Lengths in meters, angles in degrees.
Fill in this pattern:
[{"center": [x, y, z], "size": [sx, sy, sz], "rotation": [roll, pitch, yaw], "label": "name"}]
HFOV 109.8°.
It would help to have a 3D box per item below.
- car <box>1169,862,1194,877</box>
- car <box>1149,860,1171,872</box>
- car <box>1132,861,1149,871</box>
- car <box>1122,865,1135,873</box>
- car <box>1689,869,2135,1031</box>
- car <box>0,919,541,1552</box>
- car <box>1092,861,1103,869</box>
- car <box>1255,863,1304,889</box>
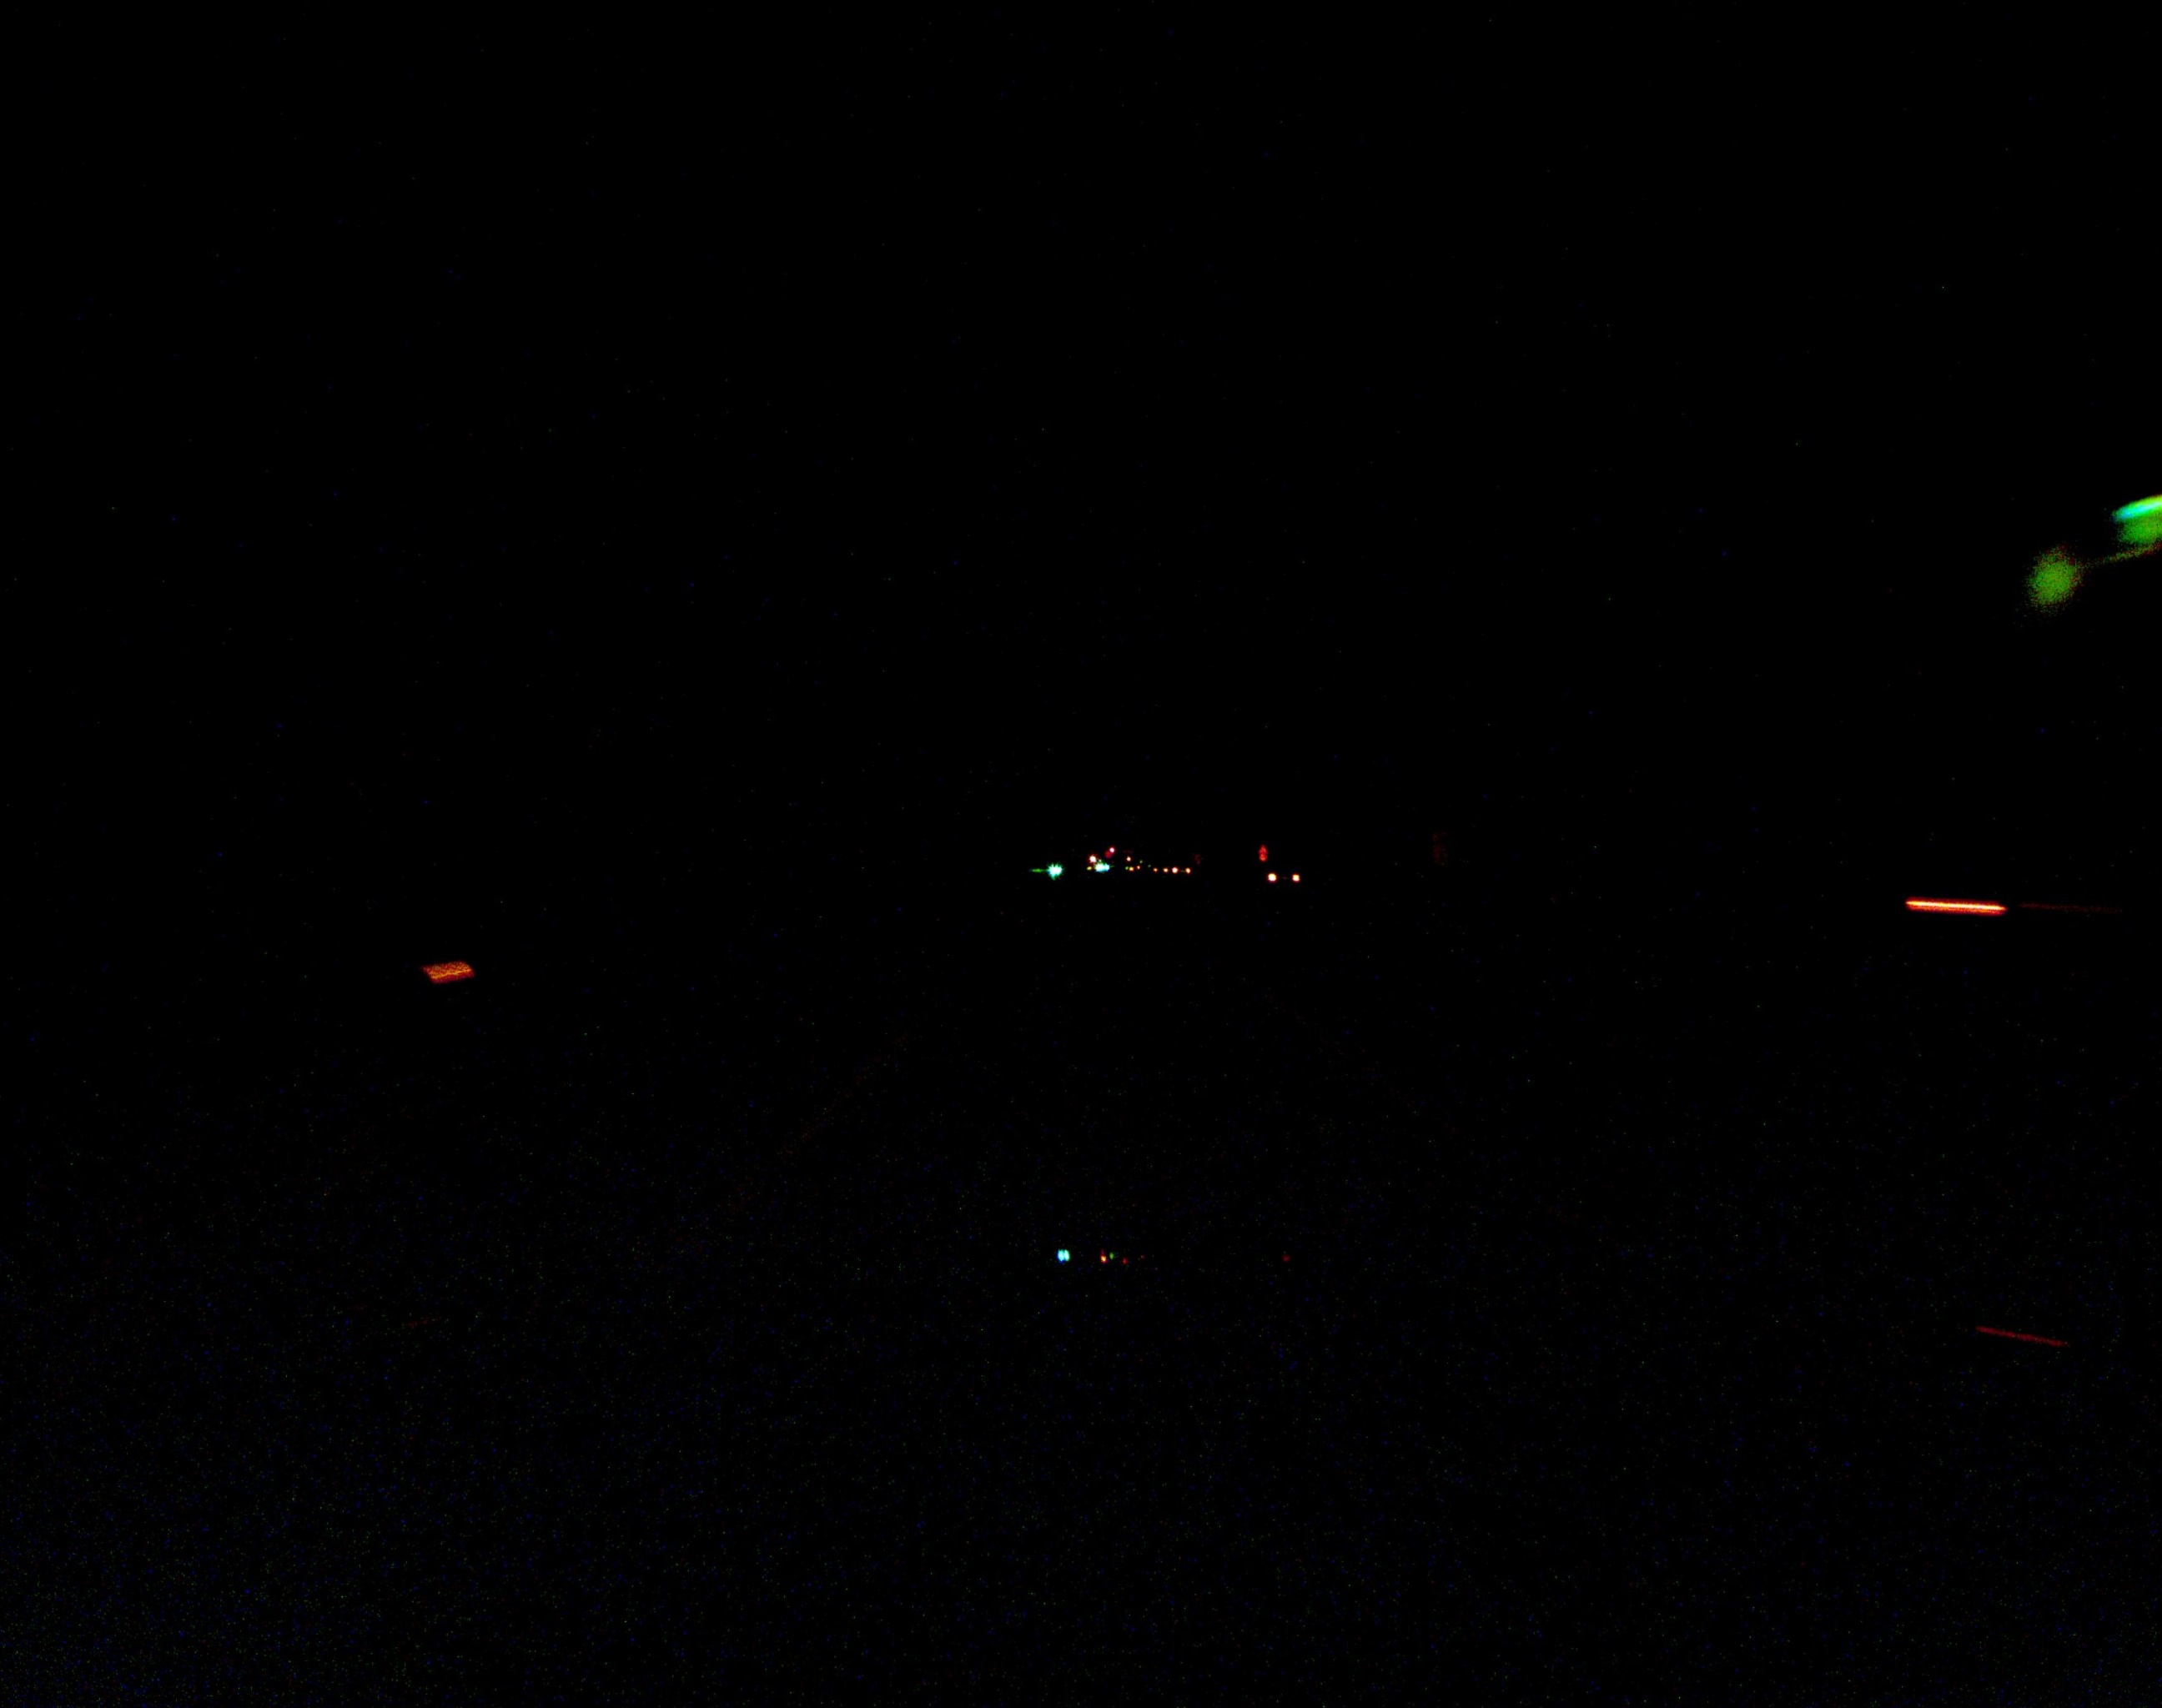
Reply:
[{"center": [11.180, 1.684, 84.587], "size": [2.127, 1.621, 4.698], "rotation": [-1, 0, 0], "label": "car"}, {"center": [10.507, 1.586, 100.847], "size": [2.127, 1.544, 4.697], "rotation": [-1, 0, -4], "label": "car"}, {"center": [9.514, 1.965, 122.337], "size": [2.127, 1.544, 4.697], "rotation": [-1, 0, -4], "label": "car"}, {"center": [9.618, 3.014, 153.623], "size": [2.127, 1.544, 4.697], "rotation": [-1, 0, -4], "label": "car"}, {"center": [9.579, 0.982, 9.234], "size": [1.549, 1.511, 3.516], "rotation": [1, 0, 0], "label": "car"}, {"center": [-3.565, 1.060, 2.060], "size": [1.657, 1.442, 3.490], "rotation": [-2, 0, 0], "label": "car"}, {"center": [3.213, 2.129, 150.331], "size": [1.931, 1.510, 4.000], "rotation": [-1, 0, -1], "label": "car"}, {"center": [12.081, 1.298, 46.457], "size": [1.958, 1.477, 4.700], "rotation": [1, 0, 3], "label": "car"}]
